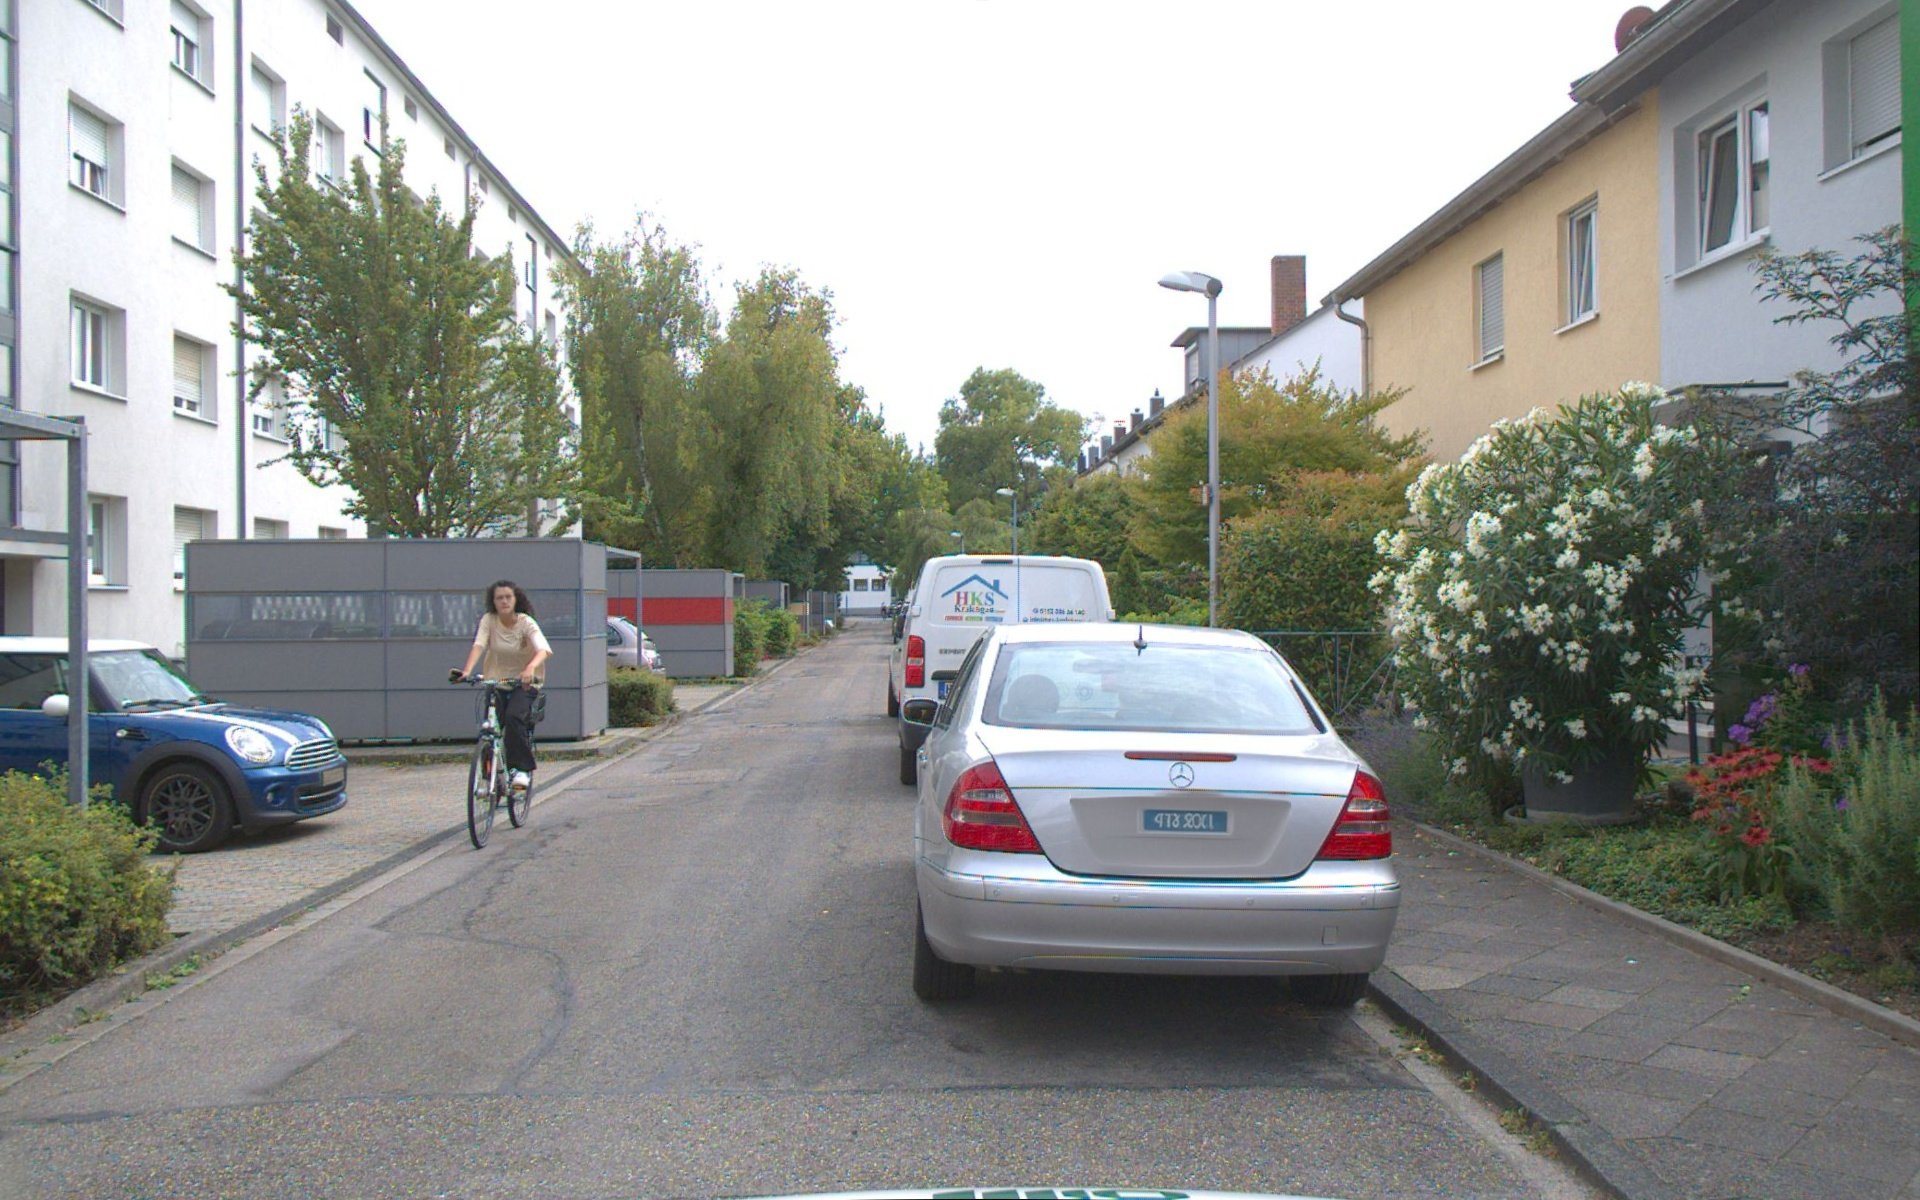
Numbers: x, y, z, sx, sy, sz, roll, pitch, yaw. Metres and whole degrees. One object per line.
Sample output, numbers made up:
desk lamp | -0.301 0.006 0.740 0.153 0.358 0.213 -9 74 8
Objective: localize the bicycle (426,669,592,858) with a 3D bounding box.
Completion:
bicycle | -3.074 1.075 11.461 0.585 1.095 2.042 -2 0 -1

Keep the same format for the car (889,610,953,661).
car | -1.171 1.012 49.068 1.788 1.394 4.329 1 0 -2

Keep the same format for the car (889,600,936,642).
car | -1.978 0.831 67.812 1.789 1.609 3.997 1 0 -4

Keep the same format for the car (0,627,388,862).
car | -6.204 1.003 11.888 3.560 1.487 1.653 -2 0 1

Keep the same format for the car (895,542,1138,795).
car | 0.350 0.562 15.801 1.866 1.999 5.250 1 0 -3

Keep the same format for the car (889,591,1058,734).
car | 0.076 0.747 21.469 1.789 1.664 4.157 1 0 -5

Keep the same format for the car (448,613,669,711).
car | -6.889 1.038 28.667 3.494 1.506 1.708 -2 0 -7

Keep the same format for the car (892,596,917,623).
car | -4.188 0.694 124.330 1.788 1.916 3.998 1 0 -2

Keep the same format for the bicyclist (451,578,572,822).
bicyclist | -3.083 0.668 11.429 0.585 1.608 0.767 -2 0 -1

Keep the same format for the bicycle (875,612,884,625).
bicycle | -7.184 1.695 148.346 0.675 1.151 2.579 1 0 0

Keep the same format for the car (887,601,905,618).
car | -6.372 0.946 165.187 1.788 1.609 3.998 1 0 -2

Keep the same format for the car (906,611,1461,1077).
car | 0.680 0.785 7.445 1.747 1.445 4.454 1 0 -1

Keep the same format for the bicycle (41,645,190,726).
bicycle | -11.756 1.174 23.069 1.796 1.042 0.471 -1 0 -44

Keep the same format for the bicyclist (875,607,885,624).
bicyclist | -7.183 1.376 148.429 0.782 1.537 0.934 1 -1 0
